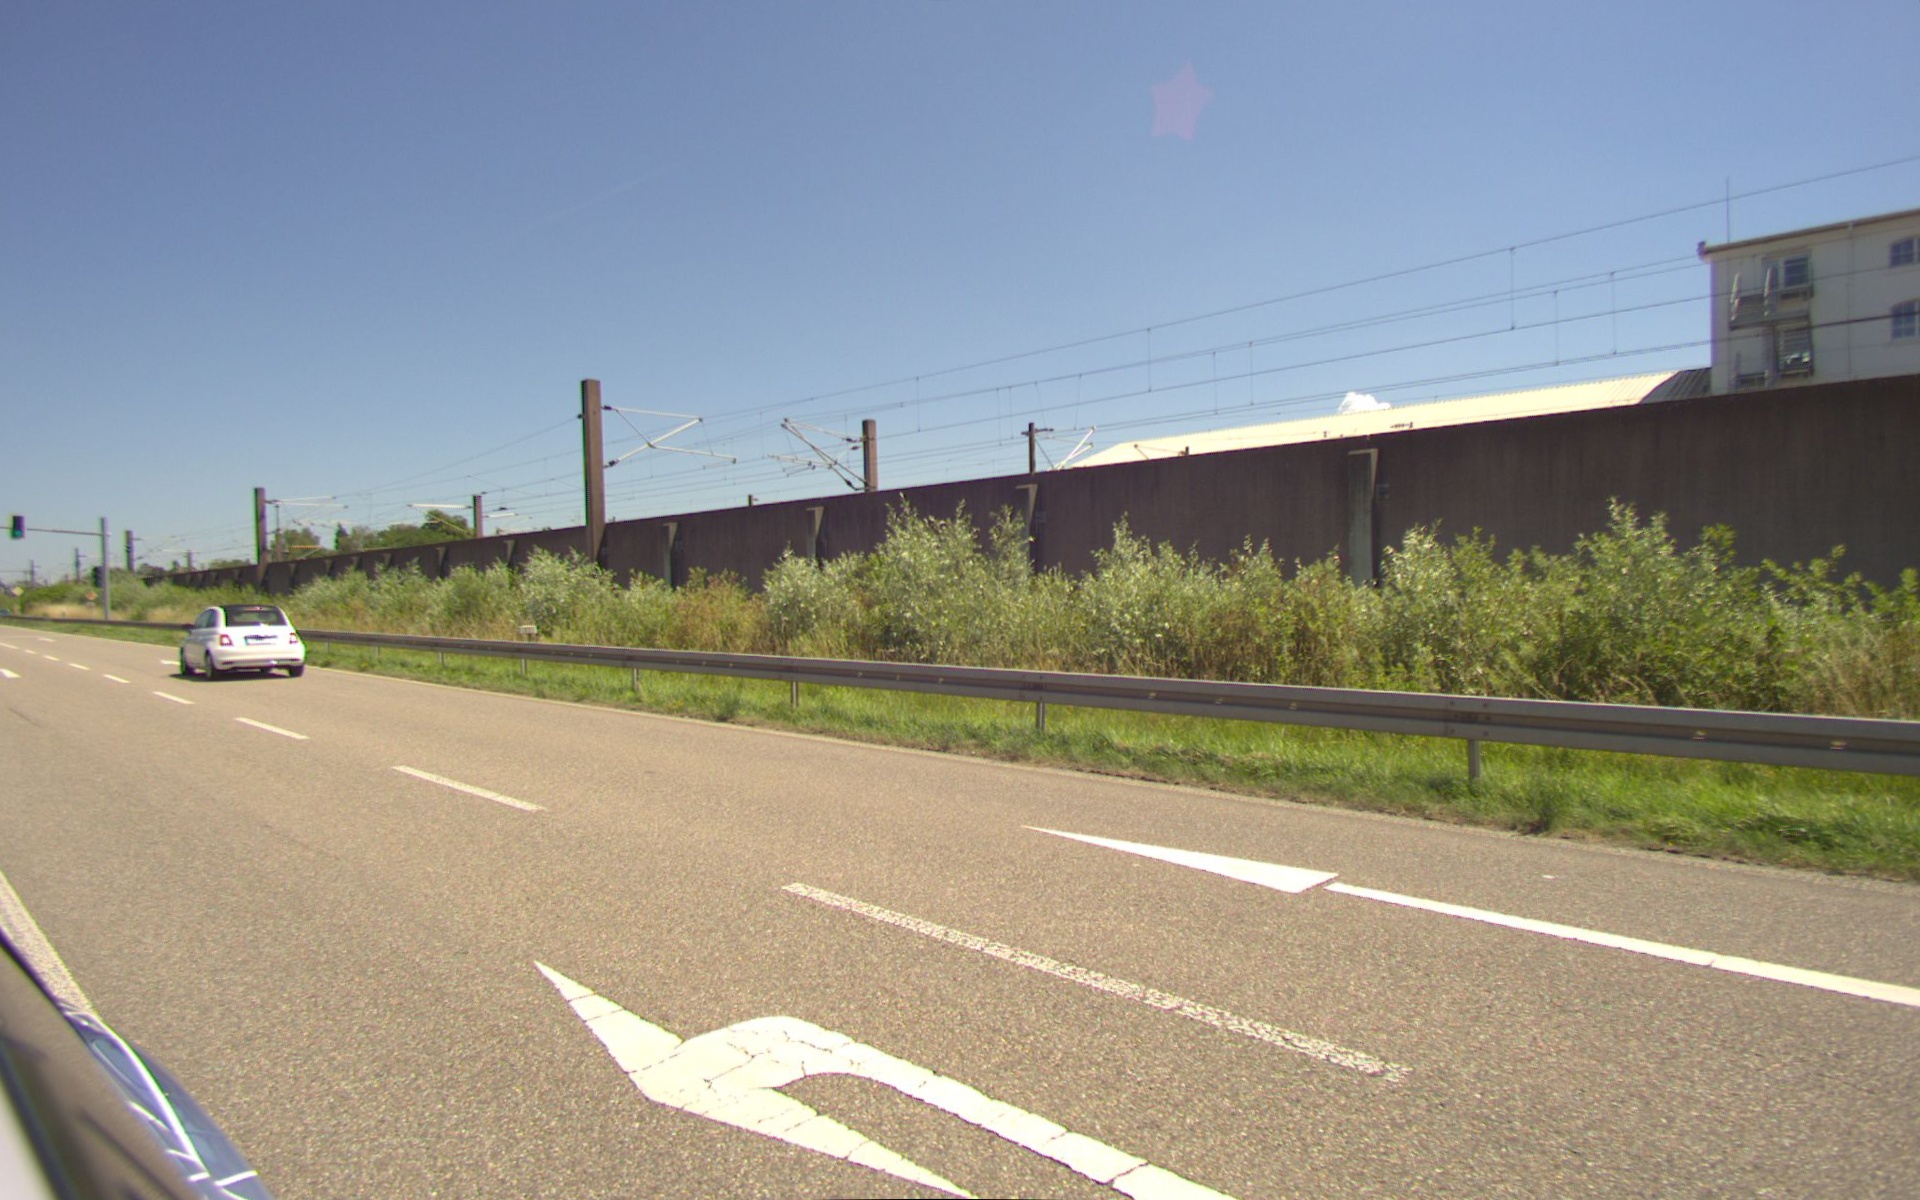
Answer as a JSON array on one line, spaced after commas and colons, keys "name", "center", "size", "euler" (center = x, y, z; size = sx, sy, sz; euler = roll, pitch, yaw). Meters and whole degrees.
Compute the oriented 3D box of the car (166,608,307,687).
[{"name": "car", "center": [-15.124, 0.934, 21.088], "size": [3.772, 1.485, 1.579], "euler": [-1, 0, 41]}]
